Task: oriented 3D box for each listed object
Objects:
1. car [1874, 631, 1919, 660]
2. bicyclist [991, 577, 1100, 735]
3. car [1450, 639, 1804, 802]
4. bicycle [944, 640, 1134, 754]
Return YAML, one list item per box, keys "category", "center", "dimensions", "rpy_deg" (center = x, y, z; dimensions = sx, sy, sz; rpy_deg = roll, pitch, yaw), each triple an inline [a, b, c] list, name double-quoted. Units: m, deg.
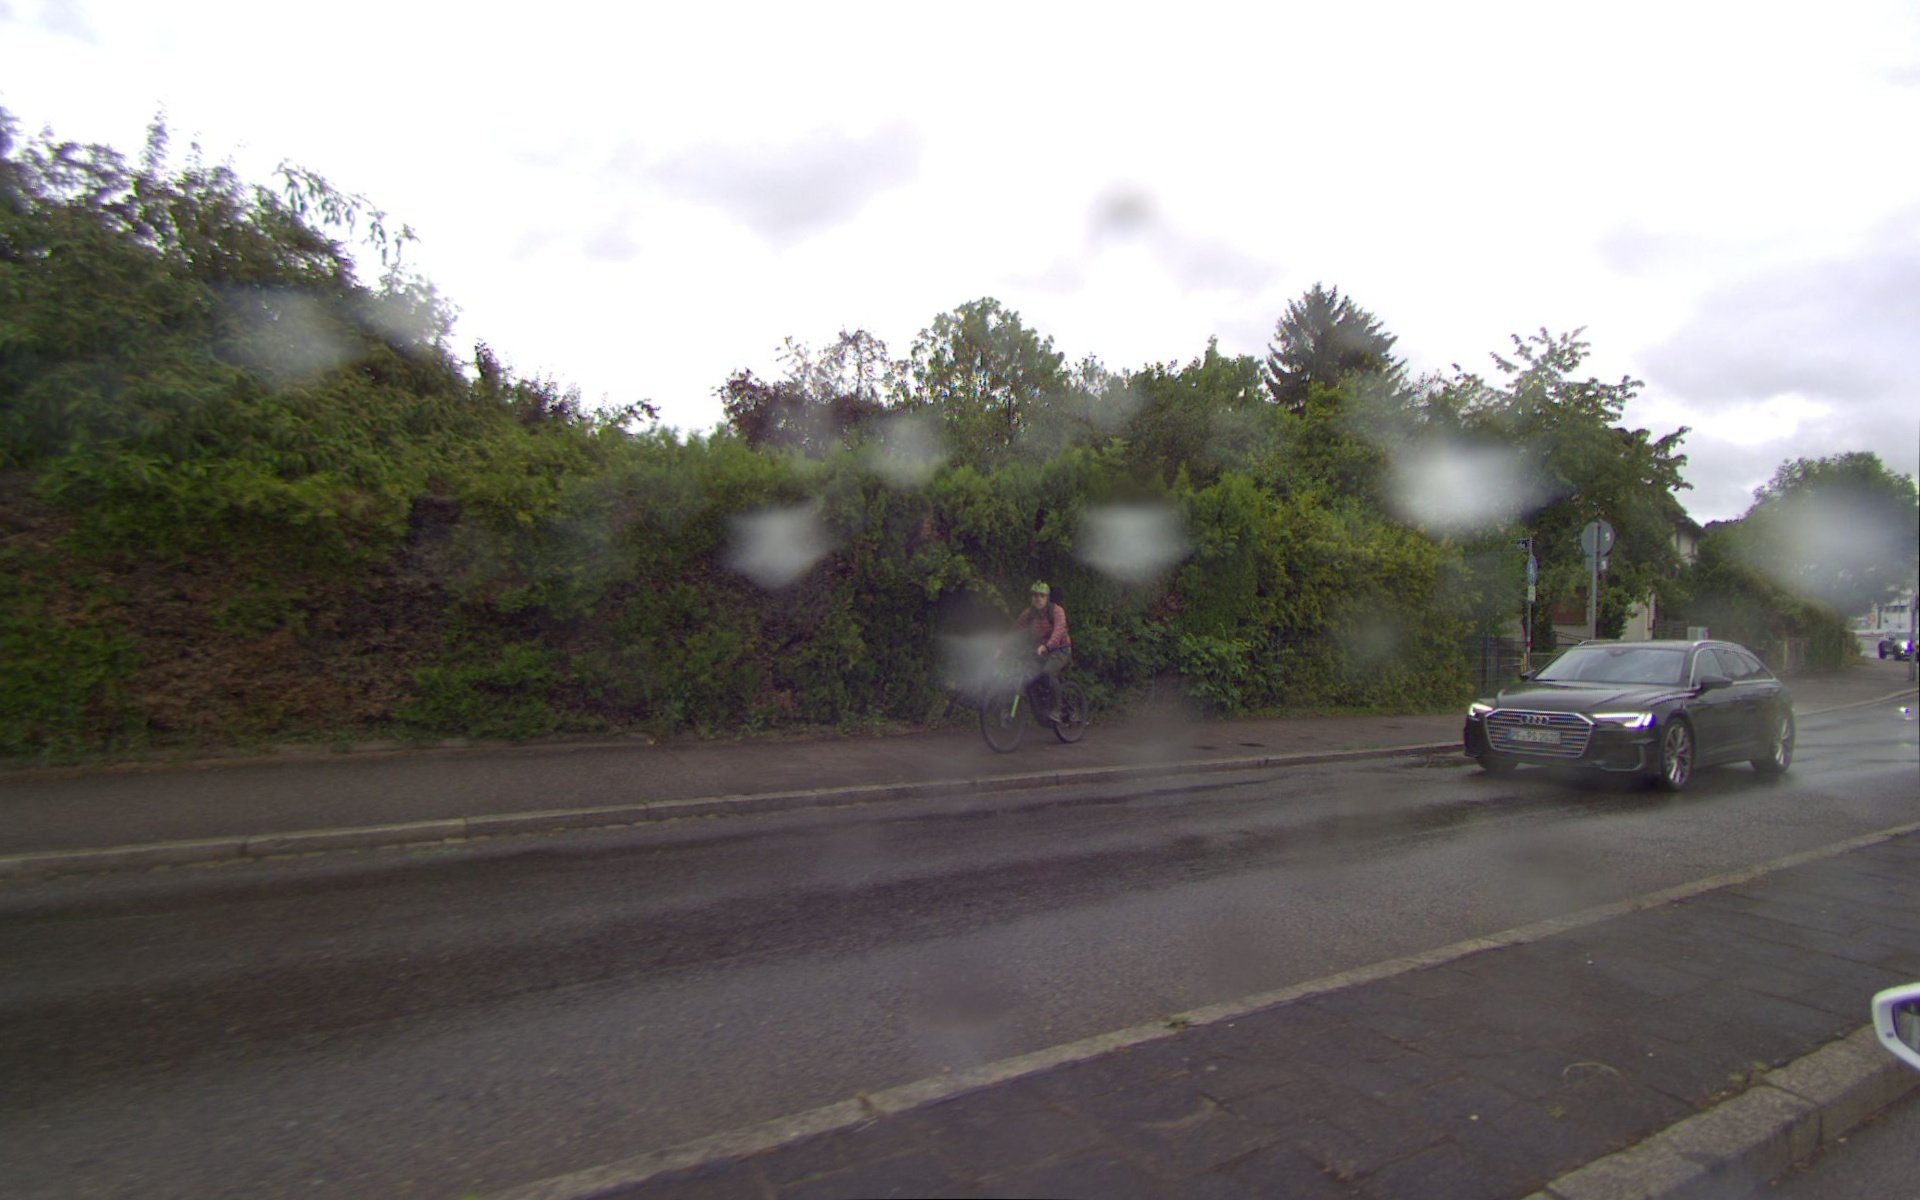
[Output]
- category: "car"
  center: [53.456, 2.573, 56.756]
  dimensions: [1.595, 1.602, 3.771]
  rpy_deg: [-1, -3, 25]
- category: "bicyclist"
  center: [0.927, 0.585, 10.926]
  dimensions: [0.858, 1.633, 0.760]
  rpy_deg: [2, 0, -32]
- category: "car"
  center: [7.421, 1.177, 11.027]
  dimensions: [4.511, 1.456, 1.726]
  rpy_deg: [2, -3, -35]
- category: "bicycle"
  center: [0.869, 1.014, 10.866]
  dimensions: [1.967, 1.101, 0.743]
  rpy_deg: [2, 0, -32]
